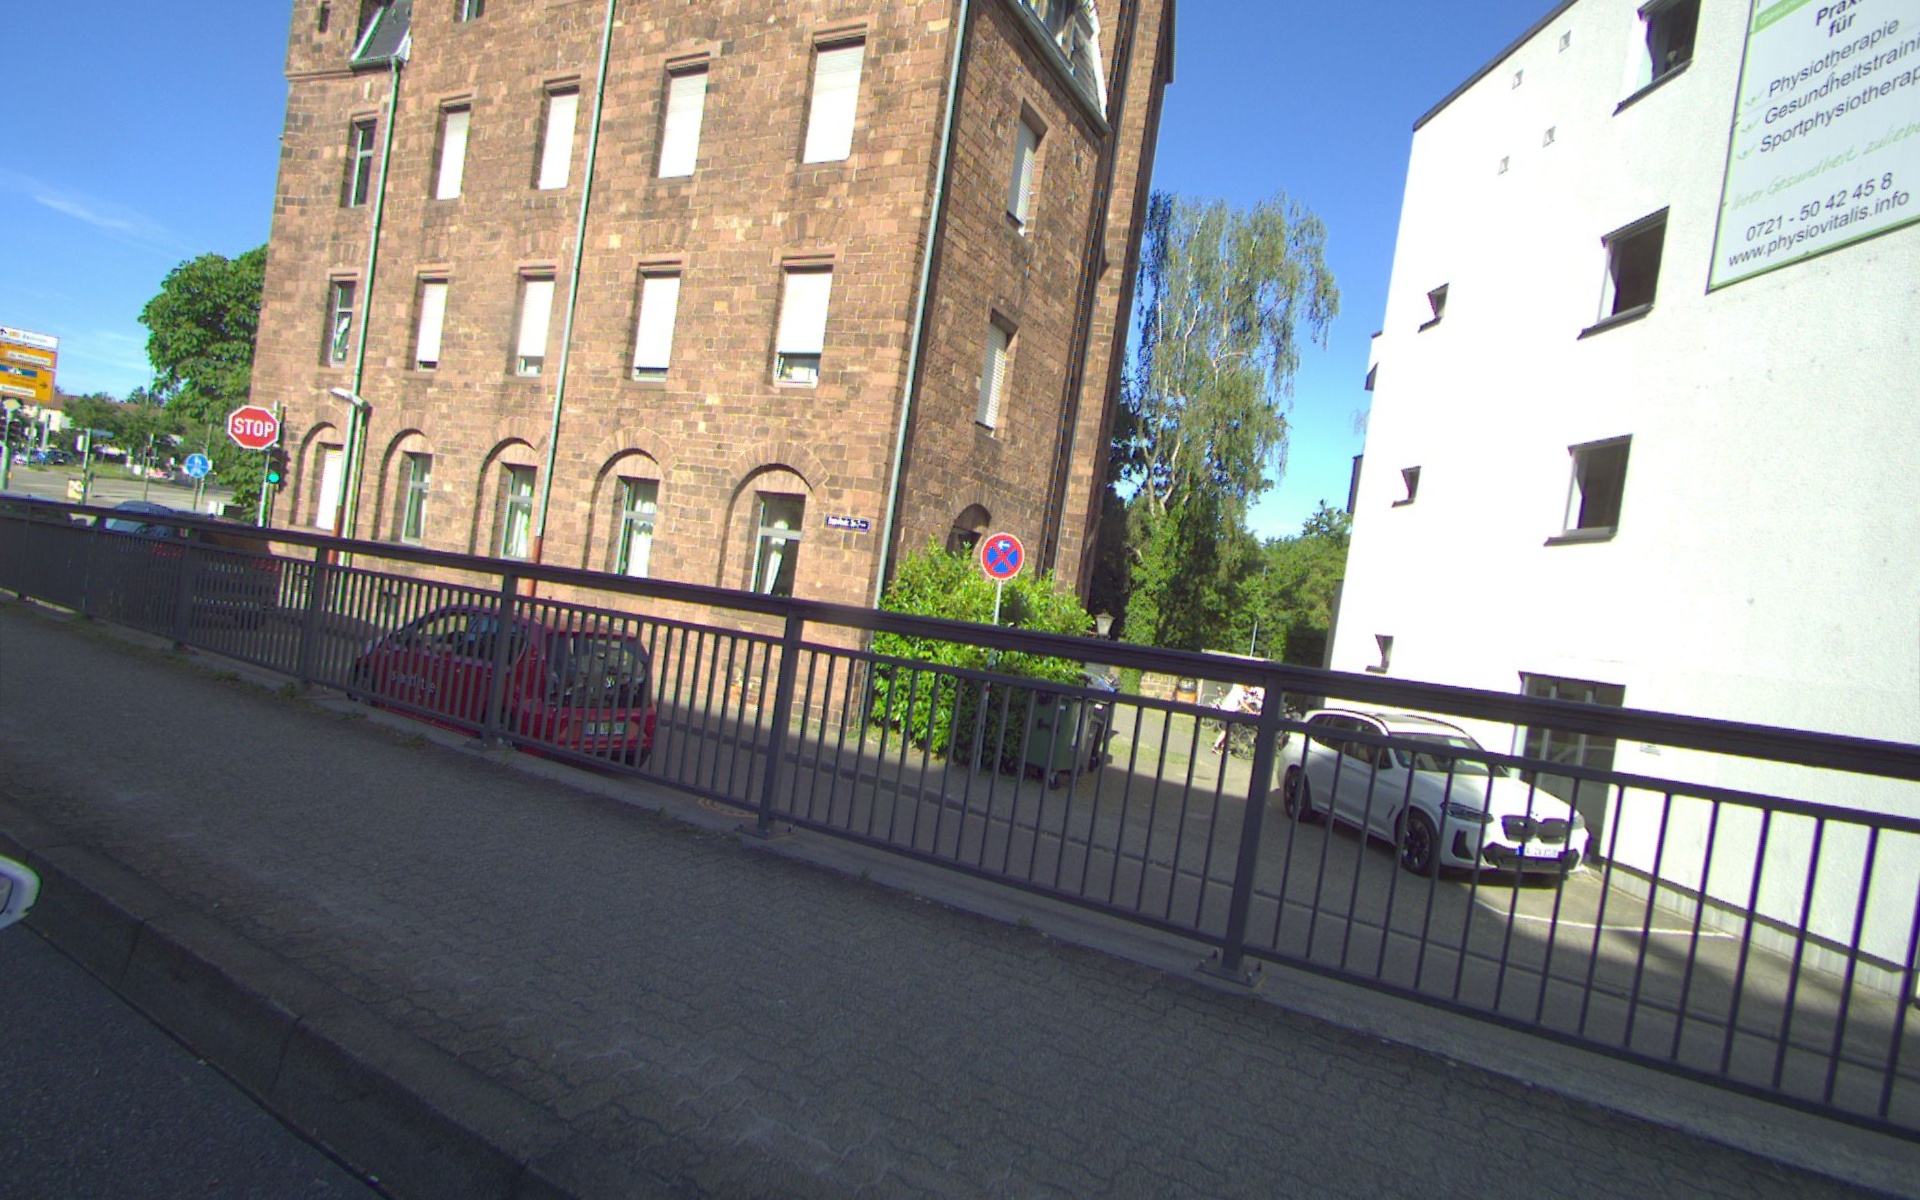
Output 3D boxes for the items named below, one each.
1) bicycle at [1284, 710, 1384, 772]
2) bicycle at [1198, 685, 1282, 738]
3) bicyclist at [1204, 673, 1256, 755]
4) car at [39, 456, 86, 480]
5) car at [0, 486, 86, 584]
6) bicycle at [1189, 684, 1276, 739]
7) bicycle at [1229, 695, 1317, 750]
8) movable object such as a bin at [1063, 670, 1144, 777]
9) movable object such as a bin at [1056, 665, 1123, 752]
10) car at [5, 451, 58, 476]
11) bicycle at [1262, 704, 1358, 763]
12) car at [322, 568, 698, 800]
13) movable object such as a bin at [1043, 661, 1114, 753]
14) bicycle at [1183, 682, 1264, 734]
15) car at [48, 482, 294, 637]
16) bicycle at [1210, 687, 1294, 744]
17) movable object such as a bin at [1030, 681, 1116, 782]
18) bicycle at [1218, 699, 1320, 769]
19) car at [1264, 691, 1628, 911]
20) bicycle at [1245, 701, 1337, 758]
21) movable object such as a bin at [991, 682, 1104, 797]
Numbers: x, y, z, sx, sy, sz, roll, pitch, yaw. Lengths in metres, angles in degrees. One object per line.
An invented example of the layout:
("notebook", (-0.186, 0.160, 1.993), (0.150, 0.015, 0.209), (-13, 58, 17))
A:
("bicycle", (8.329, 3.139, 22.450), (1.889, 1.065, 0.664), (8, 1, -6))
("bicycle", (7.902, 3.136, 28.413), (2.075, 1.174, 0.664), (8, 1, -9))
("bicyclist", (5.902, 2.479, 22.011), (0.684, 1.627, 0.687), (9, 0, -5))
("car", (-82.322, -12.098, 92.344), (1.860, 1.598, 3.978), (8, 1, -22))
("car", (-20.617, -1.543, 21.629), (4.229, 1.623, 1.723), (10, 1, 36))
("bicycle", (7.401, 3.029, 27.380), (2.075, 1.174, 0.664), (8, 1, -9))
("bicycle", (7.864, 3.084, 25.280), (1.889, 1.065, 0.664), (8, 1, -6))
("movable object such as a bin", (2.396, 2.016, 16.662), (1.009, 1.539, 1.007), (10, 0, 14))
("movable object such as a bin", (2.641, 2.183, 20.458), (1.009, 1.539, 1.007), (10, 0, 14))
("car", (-79.903, -11.735, 86.642), (1.860, 1.598, 3.978), (8, 1, -22))
("bicycle", (8.124, 3.095, 23.364), (1.889, 1.065, 0.664), (8, 1, -6))
("car", (-4.612, 0.762, 10.227), (3.427, 1.540, 1.724), (10, 1, 32))
("movable object such as a bin", (2.280, 2.017, 19.268), (1.009, 1.539, 1.007), (10, 0, 14))
("bicycle", (7.659, 3.138, 29.265), (2.075, 1.174, 0.664), (8, 1, -9))
("car", (-12.974, -0.689, 16.480), (4.225, 1.835, 1.723), (10, 3, 32))
("bicycle", (7.662, 3.027, 26.447), (1.889, 1.174, 0.664), (8, 1, -6))
("movable object such as a bin", (1.756, 1.998, 15.481), (1.009, 1.307, 1.007), (10, 0, 14))
("bicycle", (6.555, 2.845, 21.398), (1.806, 1.155, 0.689), (8, 2, -5))
("car", (5.967, 2.404, 13.127), (1.814, 1.707, 4.521), (8, 0, -9))
("bicycle", (7.969, 3.115, 24.252), (1.889, 1.065, 0.664), (8, 1, -6))
("movable object such as a bin", (1.188, 1.850, 13.518), (1.011, 1.307, 1.005), (10, 0, 29))
